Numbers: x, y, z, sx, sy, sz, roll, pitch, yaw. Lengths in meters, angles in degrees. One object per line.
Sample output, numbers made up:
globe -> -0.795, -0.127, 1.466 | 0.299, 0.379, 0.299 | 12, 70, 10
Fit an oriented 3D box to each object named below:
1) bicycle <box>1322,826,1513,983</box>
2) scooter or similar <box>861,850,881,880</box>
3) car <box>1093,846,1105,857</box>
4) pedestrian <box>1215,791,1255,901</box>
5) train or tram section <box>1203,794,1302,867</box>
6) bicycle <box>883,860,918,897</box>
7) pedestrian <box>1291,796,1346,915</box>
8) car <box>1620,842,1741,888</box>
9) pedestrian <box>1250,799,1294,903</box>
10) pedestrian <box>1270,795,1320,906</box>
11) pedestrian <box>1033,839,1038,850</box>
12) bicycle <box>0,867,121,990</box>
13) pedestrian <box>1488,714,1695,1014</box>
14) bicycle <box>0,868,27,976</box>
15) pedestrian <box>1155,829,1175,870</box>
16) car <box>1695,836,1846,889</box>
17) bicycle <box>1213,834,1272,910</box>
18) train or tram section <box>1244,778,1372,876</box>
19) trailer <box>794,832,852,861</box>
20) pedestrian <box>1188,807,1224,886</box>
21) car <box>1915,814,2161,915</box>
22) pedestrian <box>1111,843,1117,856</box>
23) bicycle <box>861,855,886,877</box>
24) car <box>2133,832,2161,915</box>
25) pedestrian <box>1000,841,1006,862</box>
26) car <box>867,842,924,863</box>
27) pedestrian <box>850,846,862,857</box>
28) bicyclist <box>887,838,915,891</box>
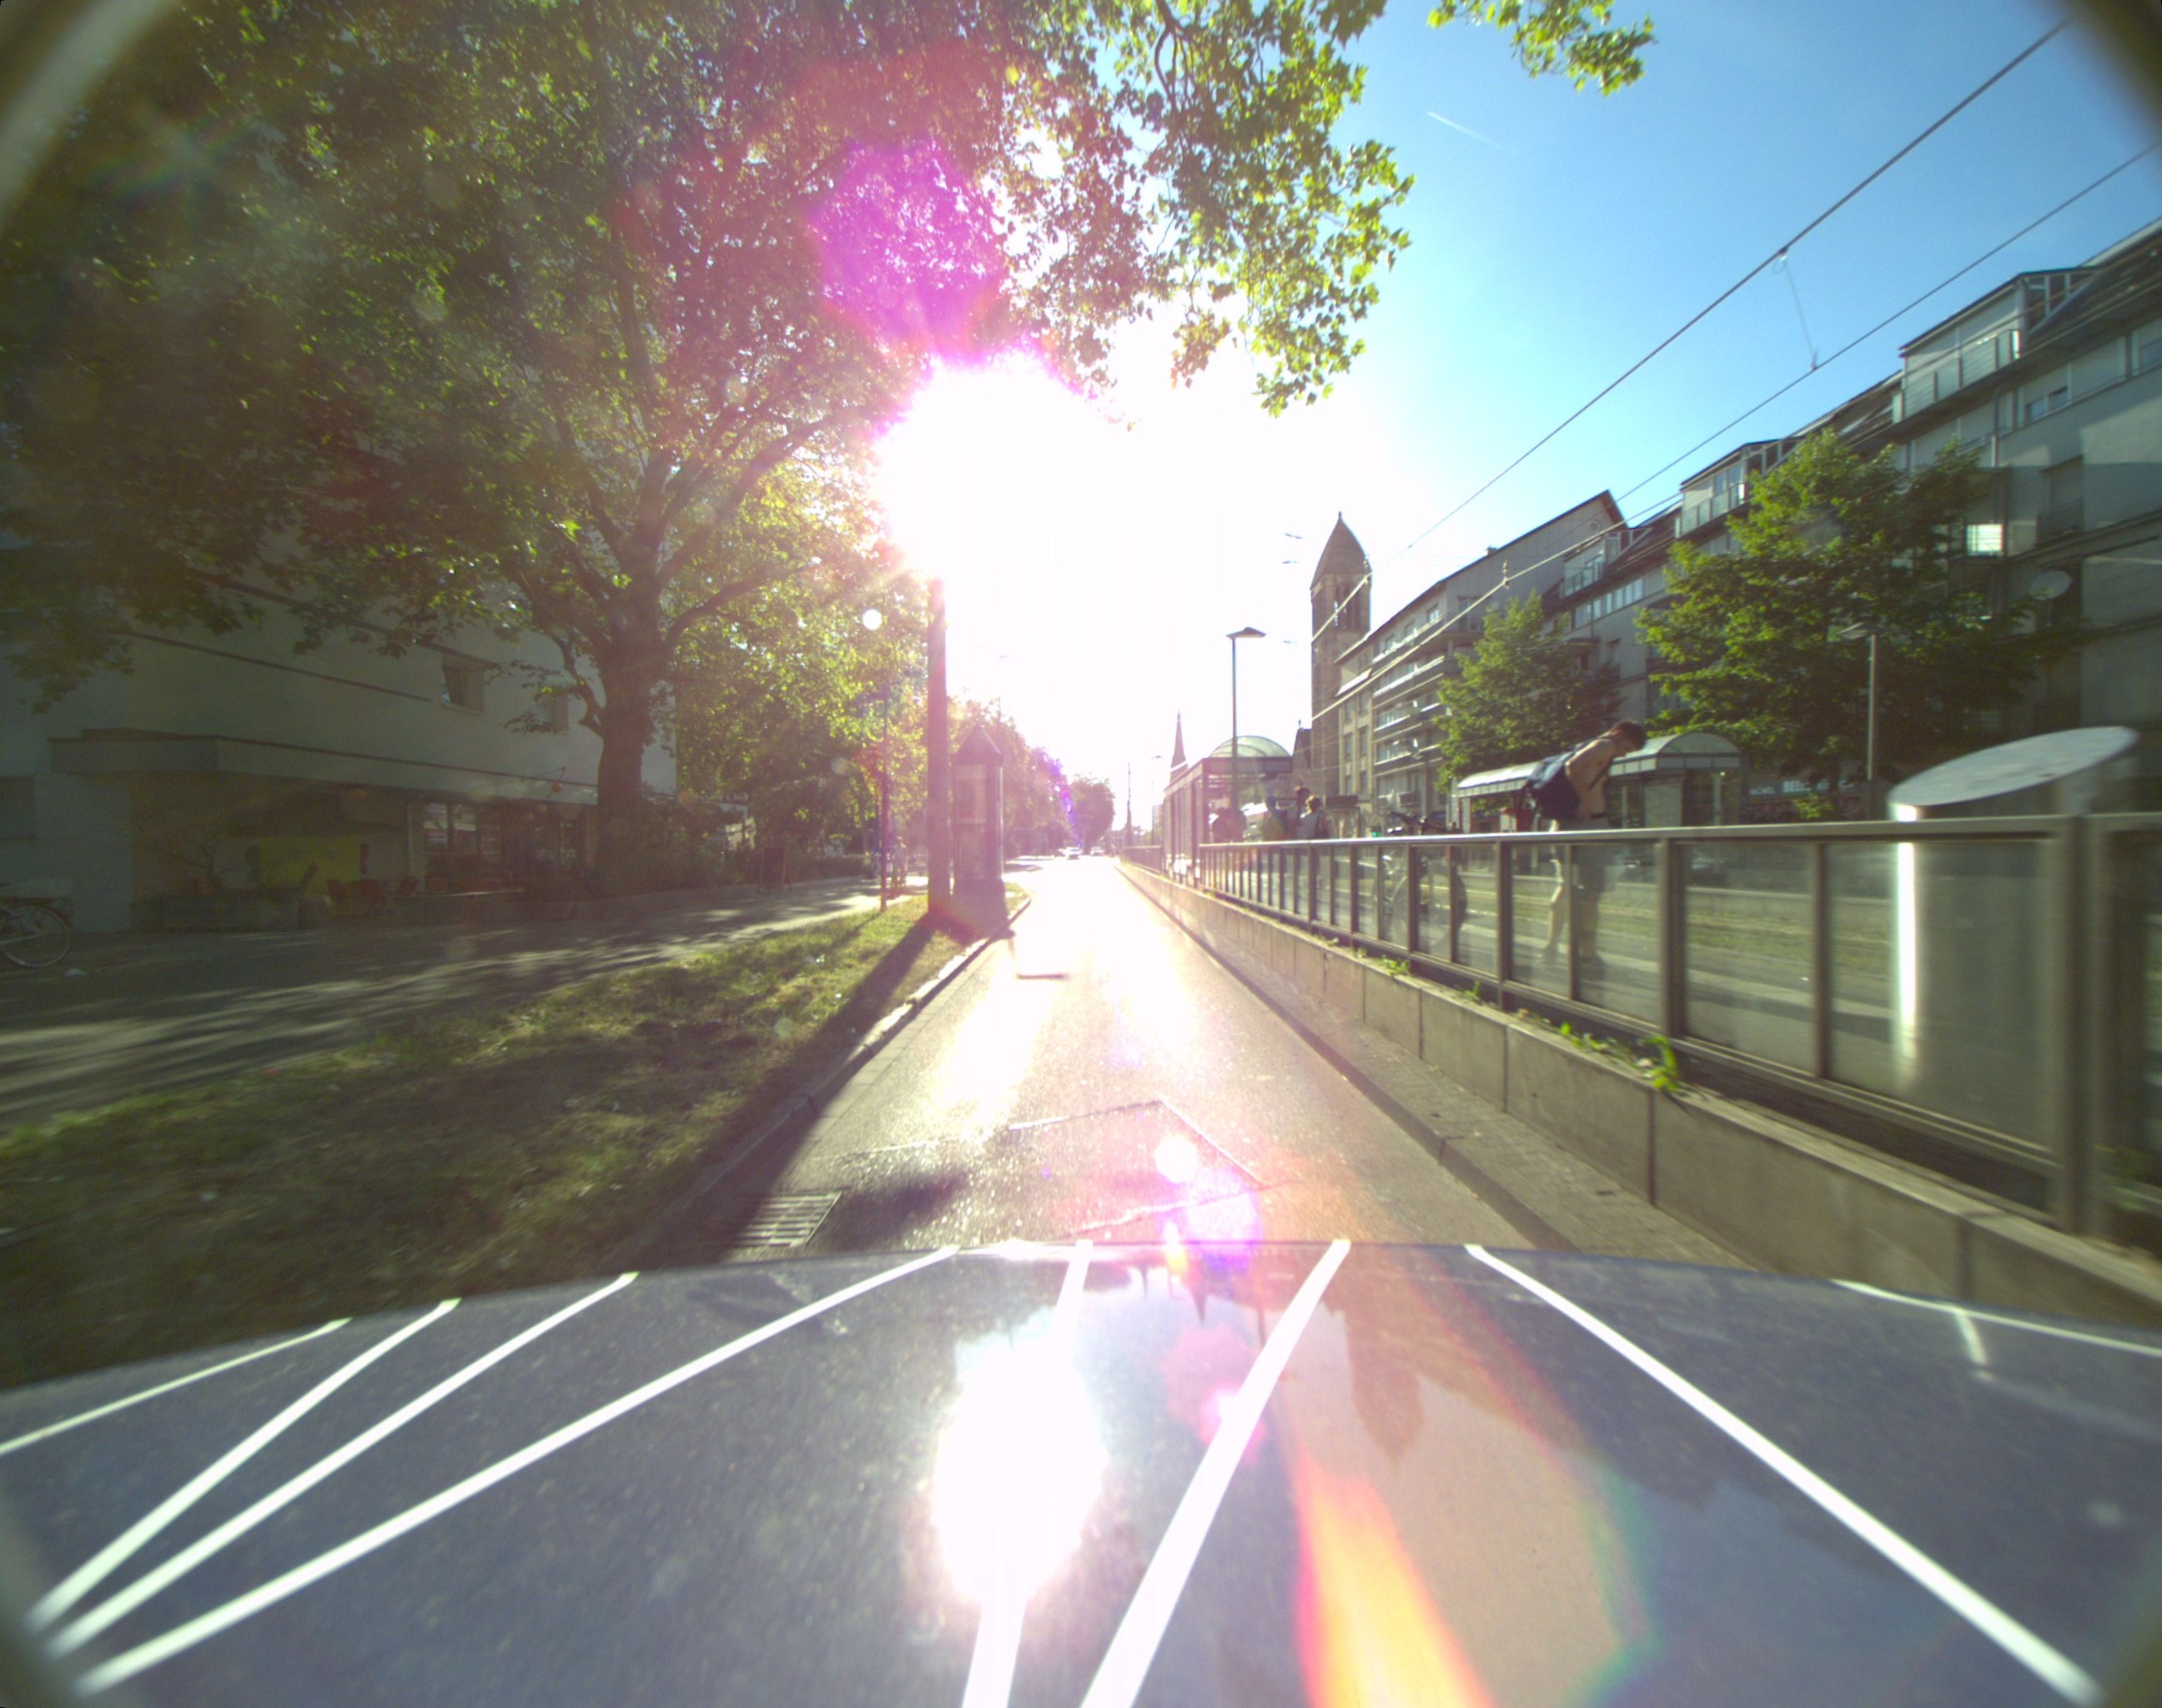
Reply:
bicycle -> 2.798, 0.352, 6.601 | 0.739, 1.127, 2.030 | -3, 1, 1
scooter or similar -> -9.081, 0.470, 32.838 | 0.562, 1.250, 1.289 | 0, 2, -3
car -> 2.566, -0.383, 108.812 | 1.636, 1.491, 3.999 | -2, 1, 1
pedestrian -> 2.883, -0.146, 14.276 | 0.600, 1.985, 0.824 | -2, 2, 6
train or tram section -> 9.816, -1.315, 45.654 | 2.877, 3.665, 14.557 | 0, 1, 1
bicycle -> -5.347, 0.704, 22.547 | 0.604, 1.020, 1.766 | -1, 1, 0
pedestrian -> 3.545, 0.017, 11.370 | 0.507, 1.698, 0.729 | -3, 2, -2
car -> 23.769, 0.381, 30.321 | 1.811, 1.668, 3.784 | -3, 1, 0
pedestrian -> 3.431, -0.053, 13.679 | 0.600, 1.790, 0.824 | -2, 2, 6
pedestrian -> 3.403, -0.057, 12.096 | 0.550, 1.698, 0.599 | -3, 2, -2
pedestrian -> -7.528, -1.595, 125.166 | 0.631, 1.833, 0.540 | -3, 2, -1
bicycle -> -11.009, 0.761, 7.447 | 0.791, 1.171, 1.820 | -3, 1, 1
pedestrian -> 3.258, 0.058, 4.921 | 0.787, 1.761, 0.773 | -3, 2, 1
bicycle -> -12.283, 0.778, 7.618 | 0.791, 1.171, 1.820 | -3, 1, 1
pedestrian -> 3.416, -0.193, 30.924 | 0.631, 1.600, 0.982 | -3, 1, -1
car -> 23.768, 0.248, 26.400 | 1.811, 1.626, 3.784 | -3, 1, 0
bicycle -> 2.636, 0.253, 12.576 | 0.514, 1.127, 2.103 | -3, 1, 1
train or tram section -> 9.622, -1.113, 33.515 | 2.877, 3.665, 9.682 | 0, 1, 1
trailer -> -21.915, -0.629, 64.459 | 4.520, 2.360, 1.910 | -1, 1, -21
pedestrian -> 3.120, -0.194, 19.001 | 0.671, 1.891, 0.824 | -3, 2, 0
car -> 23.643, 0.194, 18.747 | 1.945, 2.154, 3.784 | -3, 1, 0
pedestrian -> 4.339, -0.557, 99.048 | 0.679, 1.612, 0.925 | -3, 1, -1
bicycle -> -9.694, 0.545, 35.514 | 0.606, 1.020, 1.948 | -1, 0, -31
car -> 23.566, 0.406, 14.483 | 1.811, 1.719, 3.784 | -3, 1, 0
pedestrian -> -6.175, -0.179, 60.306 | 0.429, 1.630, 0.613 | -2, 1, -7
car -> -16.286, -0.133, 66.666 | 4.584, 1.630, 1.932 | -3, 1, -21
pedestrian -> -26.657, -0.322, 89.967 | 1.141, 1.233, 0.790 | -3, 1, 0
bicyclist -> -5.350, 0.295, 22.623 | 0.604, 1.542, 0.860 | -1, 1, 0
